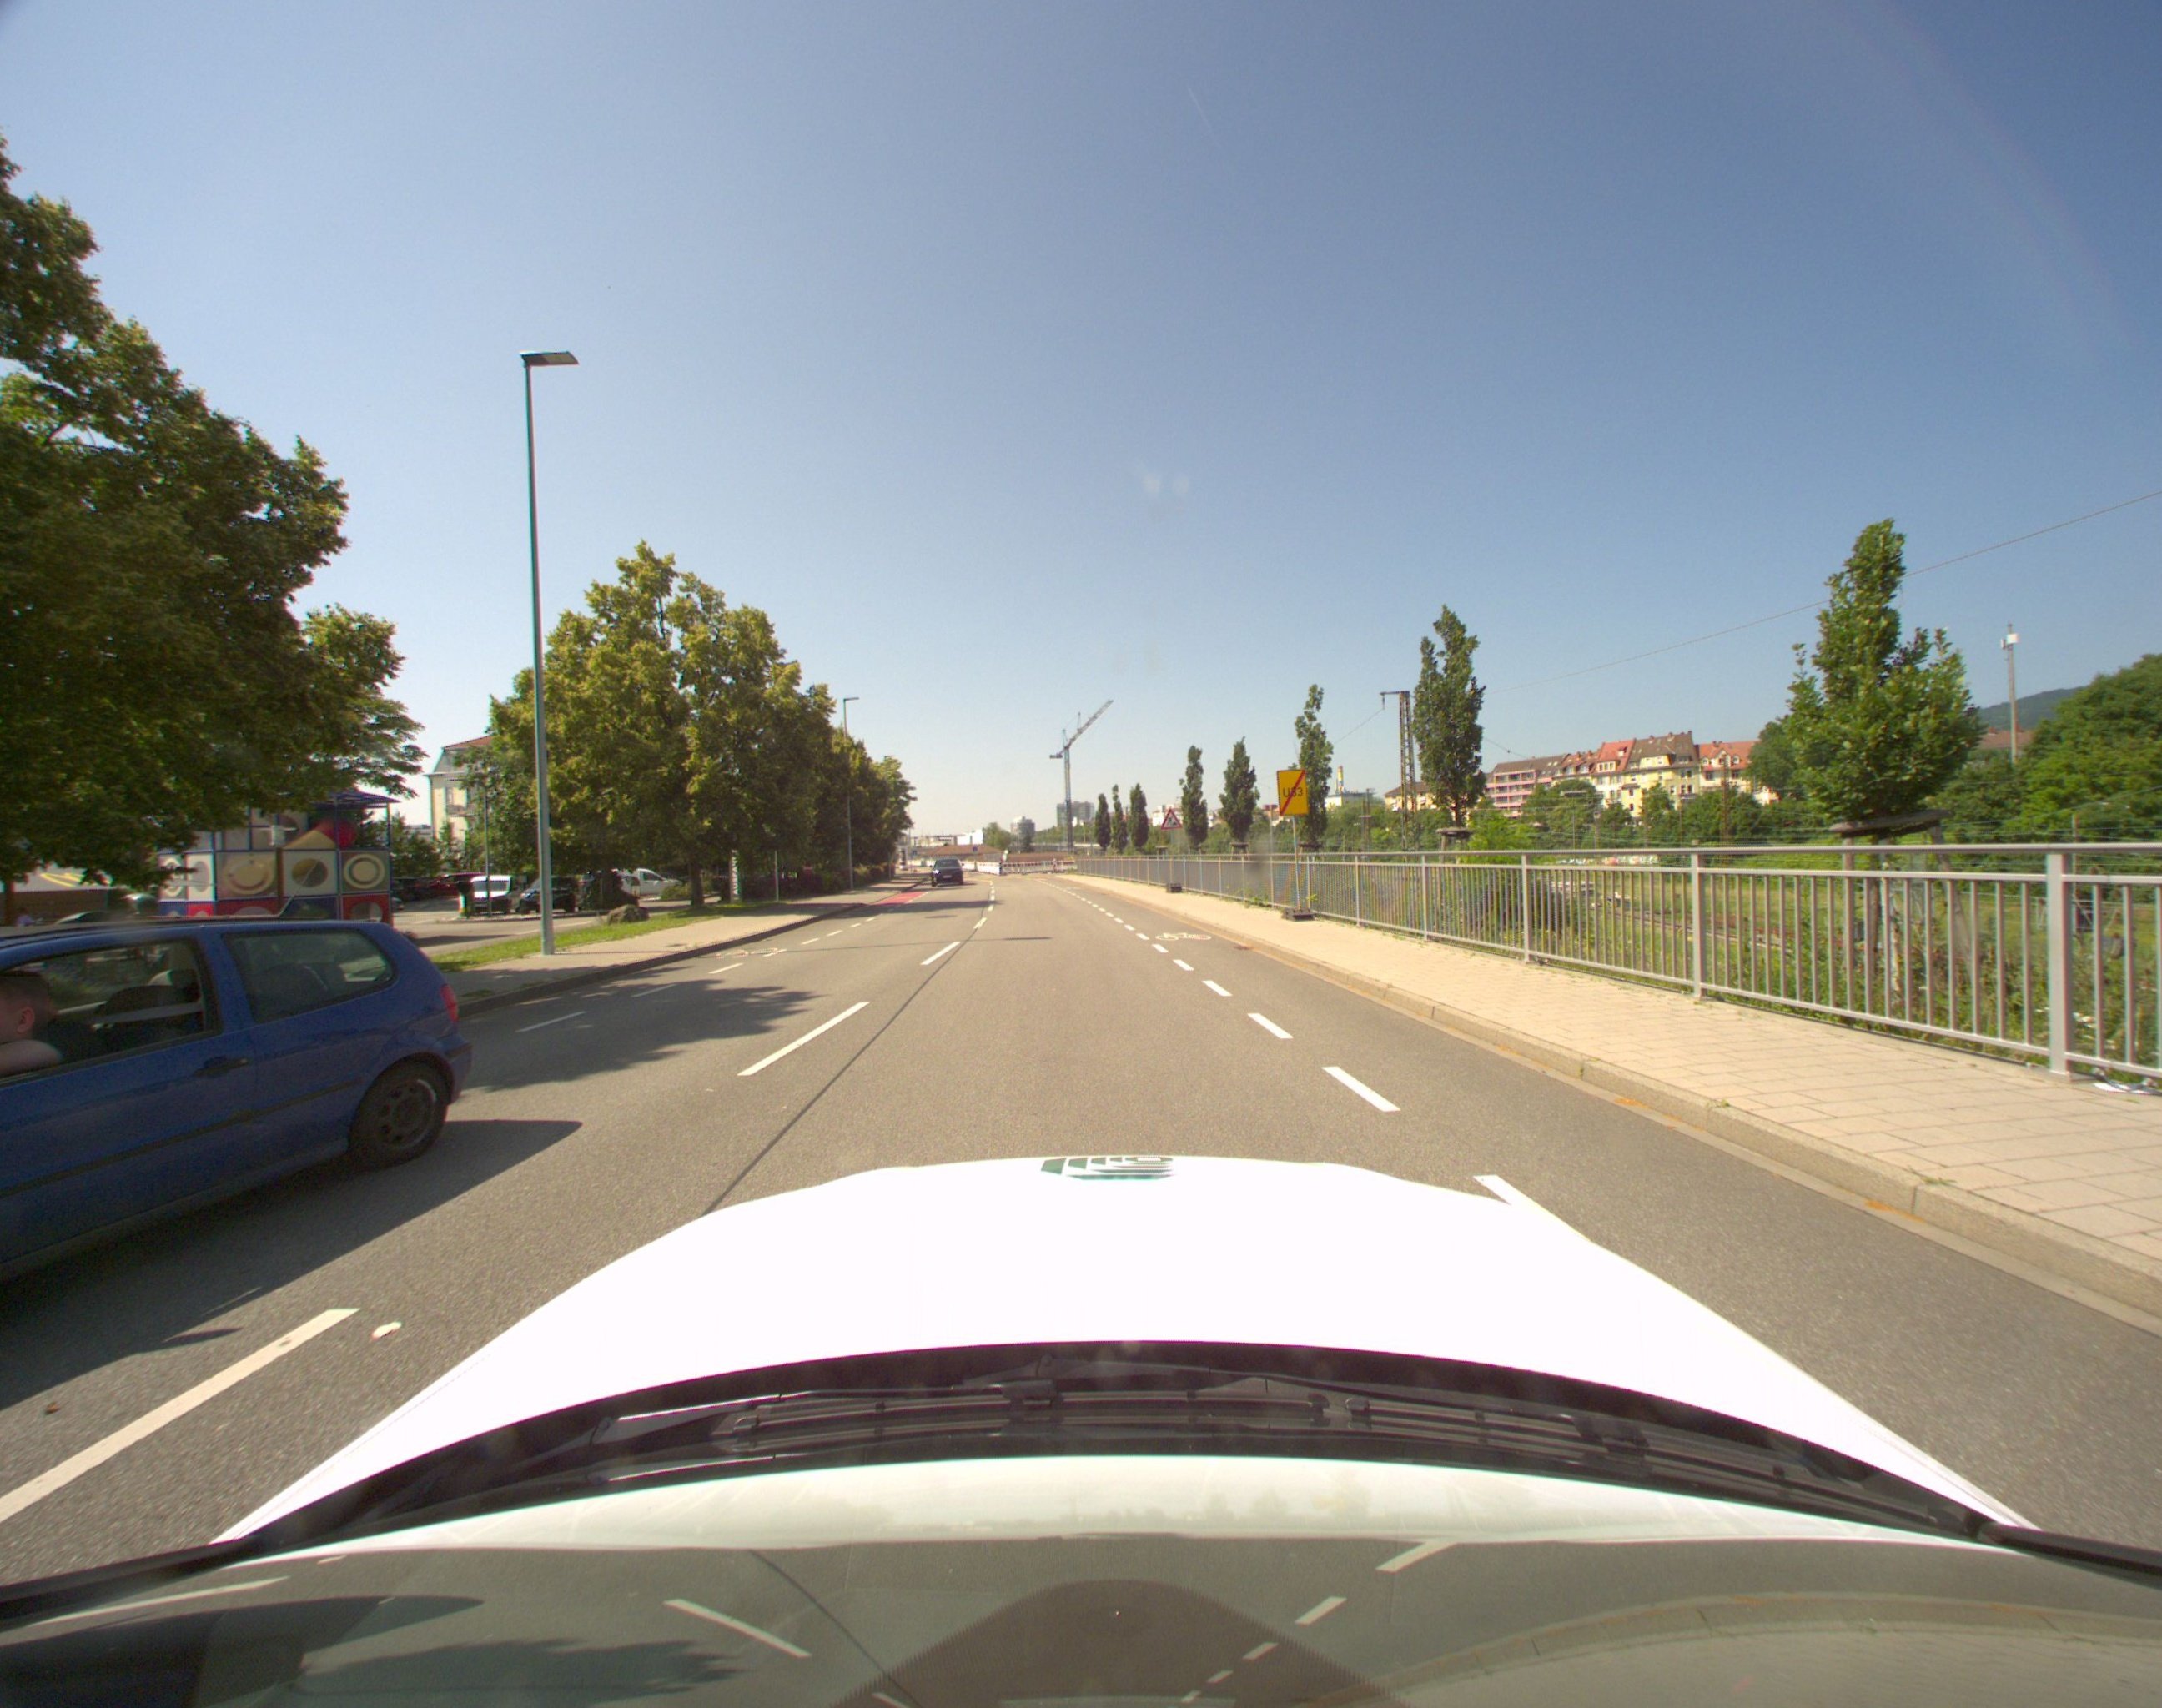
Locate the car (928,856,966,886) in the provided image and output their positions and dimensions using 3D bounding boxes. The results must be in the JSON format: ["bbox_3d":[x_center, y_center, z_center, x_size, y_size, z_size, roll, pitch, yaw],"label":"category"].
[{"bbox_3d":[-8.291,1.007,50.122,1.953,1.695,4.591,-2,0,-13],"label":"car"}]

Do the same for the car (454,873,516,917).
[{"bbox_3d":[-26.987,1.806,36.995,1.723,1.735,4.208,-3,0,-29],"label":"car"}]

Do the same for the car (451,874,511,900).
[{"bbox_3d":[-38.747,2.123,52.597,3.392,1.526,1.510,-2,0,22],"label":"car"}]

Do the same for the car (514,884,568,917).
[{"bbox_3d":[-23.958,2.013,36.090,1.616,1.285,3.954,-3,0,-39],"label":"car"}]

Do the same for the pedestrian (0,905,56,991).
[{"bbox_3d":[-26.223,2.311,20.076,0.831,2.013,0.752,-2,0,-3],"label":"pedestrian"}]

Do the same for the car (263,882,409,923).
[{"bbox_3d":[-33.050,2.128,36.323,4.407,1.438,1.980,-3,0,-31],"label":"car"}]

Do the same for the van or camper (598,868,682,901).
[{"bbox_3d":[-26.640,1.817,49.389,4.291,1.740,1.984,-3,0,-25],"label":"van or camper"}]

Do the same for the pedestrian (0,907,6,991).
[{"bbox_3d":[-26.208,2.290,19.121,0.831,2.013,0.752,-2,0,-3],"label":"pedestrian"}]

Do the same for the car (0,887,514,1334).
[{"bbox_3d":[-4.454,0.947,3.085,1.649,1.381,4.002,-2,0,2],"label":"car"}]

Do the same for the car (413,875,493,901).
[{"bbox_3d":[-43.934,2.354,57.094,4.000,1.598,1.787,-3,0,-19],"label":"car"}]
